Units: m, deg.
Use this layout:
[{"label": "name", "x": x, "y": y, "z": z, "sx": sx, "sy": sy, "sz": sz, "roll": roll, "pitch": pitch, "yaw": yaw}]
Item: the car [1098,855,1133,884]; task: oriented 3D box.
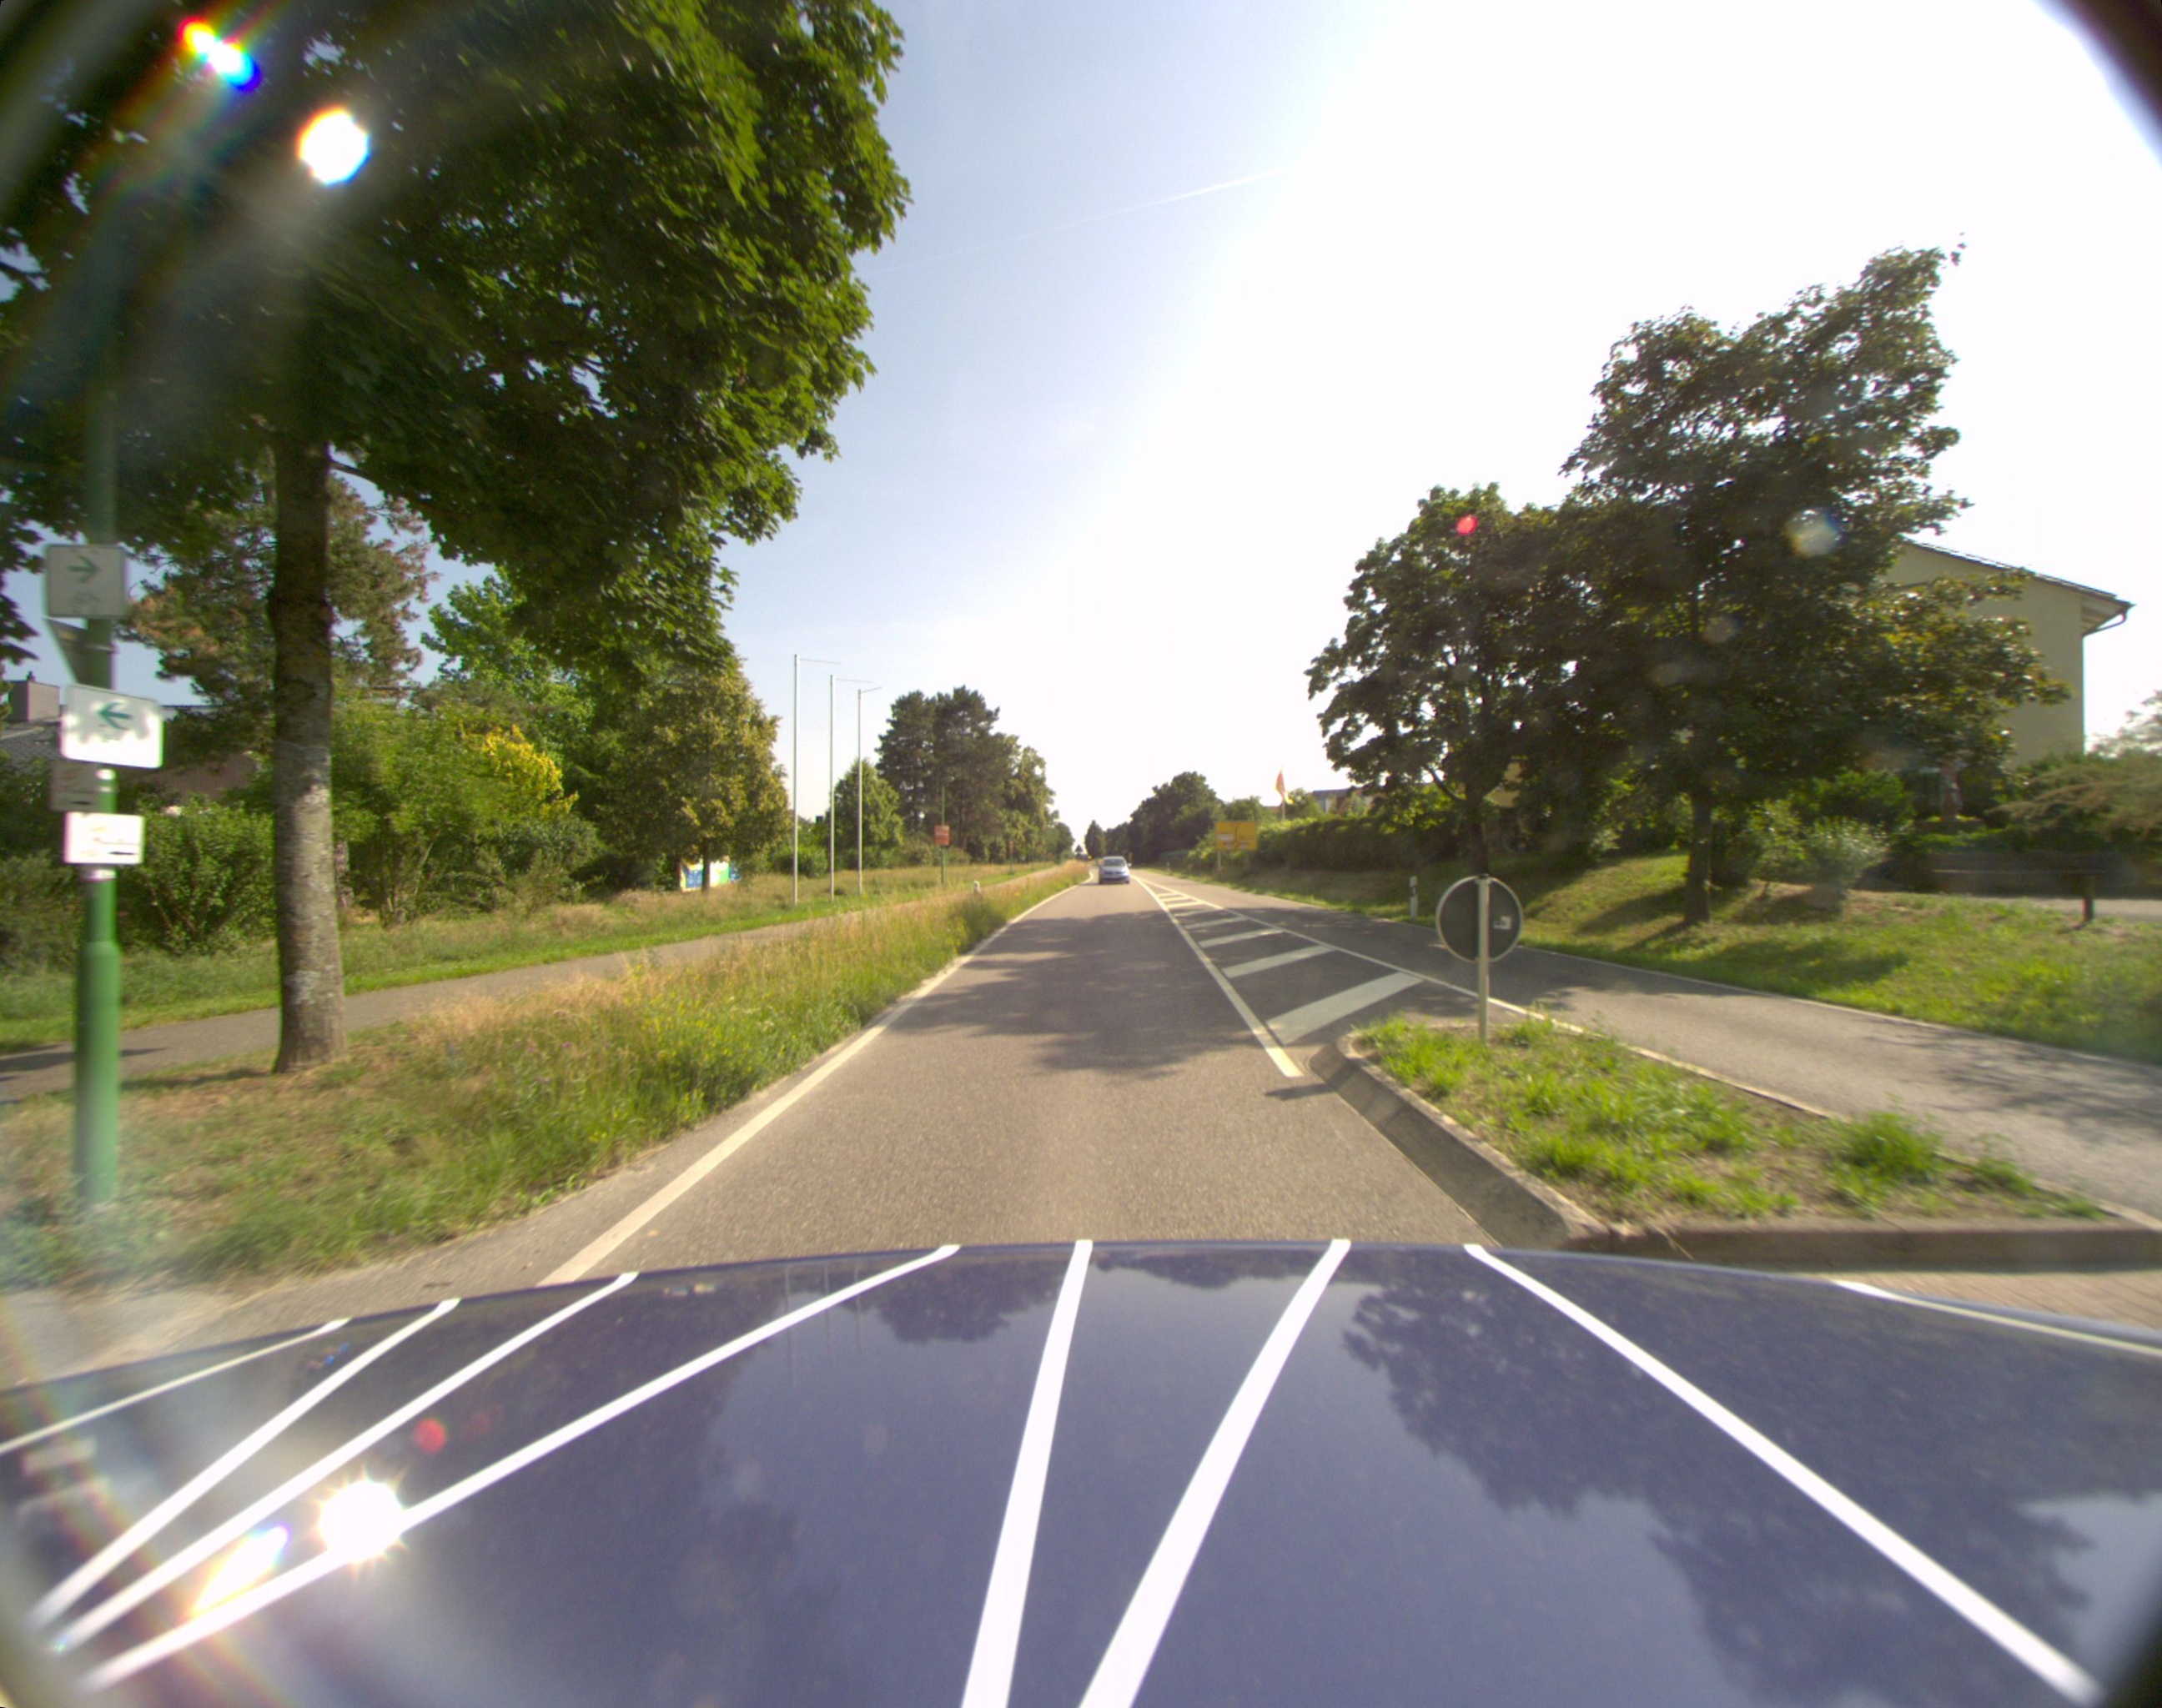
[{"label": "car", "x": 1.965, "y": 0.882, "z": 44.646, "sx": 1.808, "sy": 1.592, "sz": 4.269, "roll": -1, "pitch": -1, "yaw": -1}]

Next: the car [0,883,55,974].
[{"label": "car", "x": -19.312, "y": 1.211, "z": 11.796, "sx": 3.999, "sy": 1.425, "sz": 1.814, "roll": 0, "pitch": 0, "yaw": -5}]
